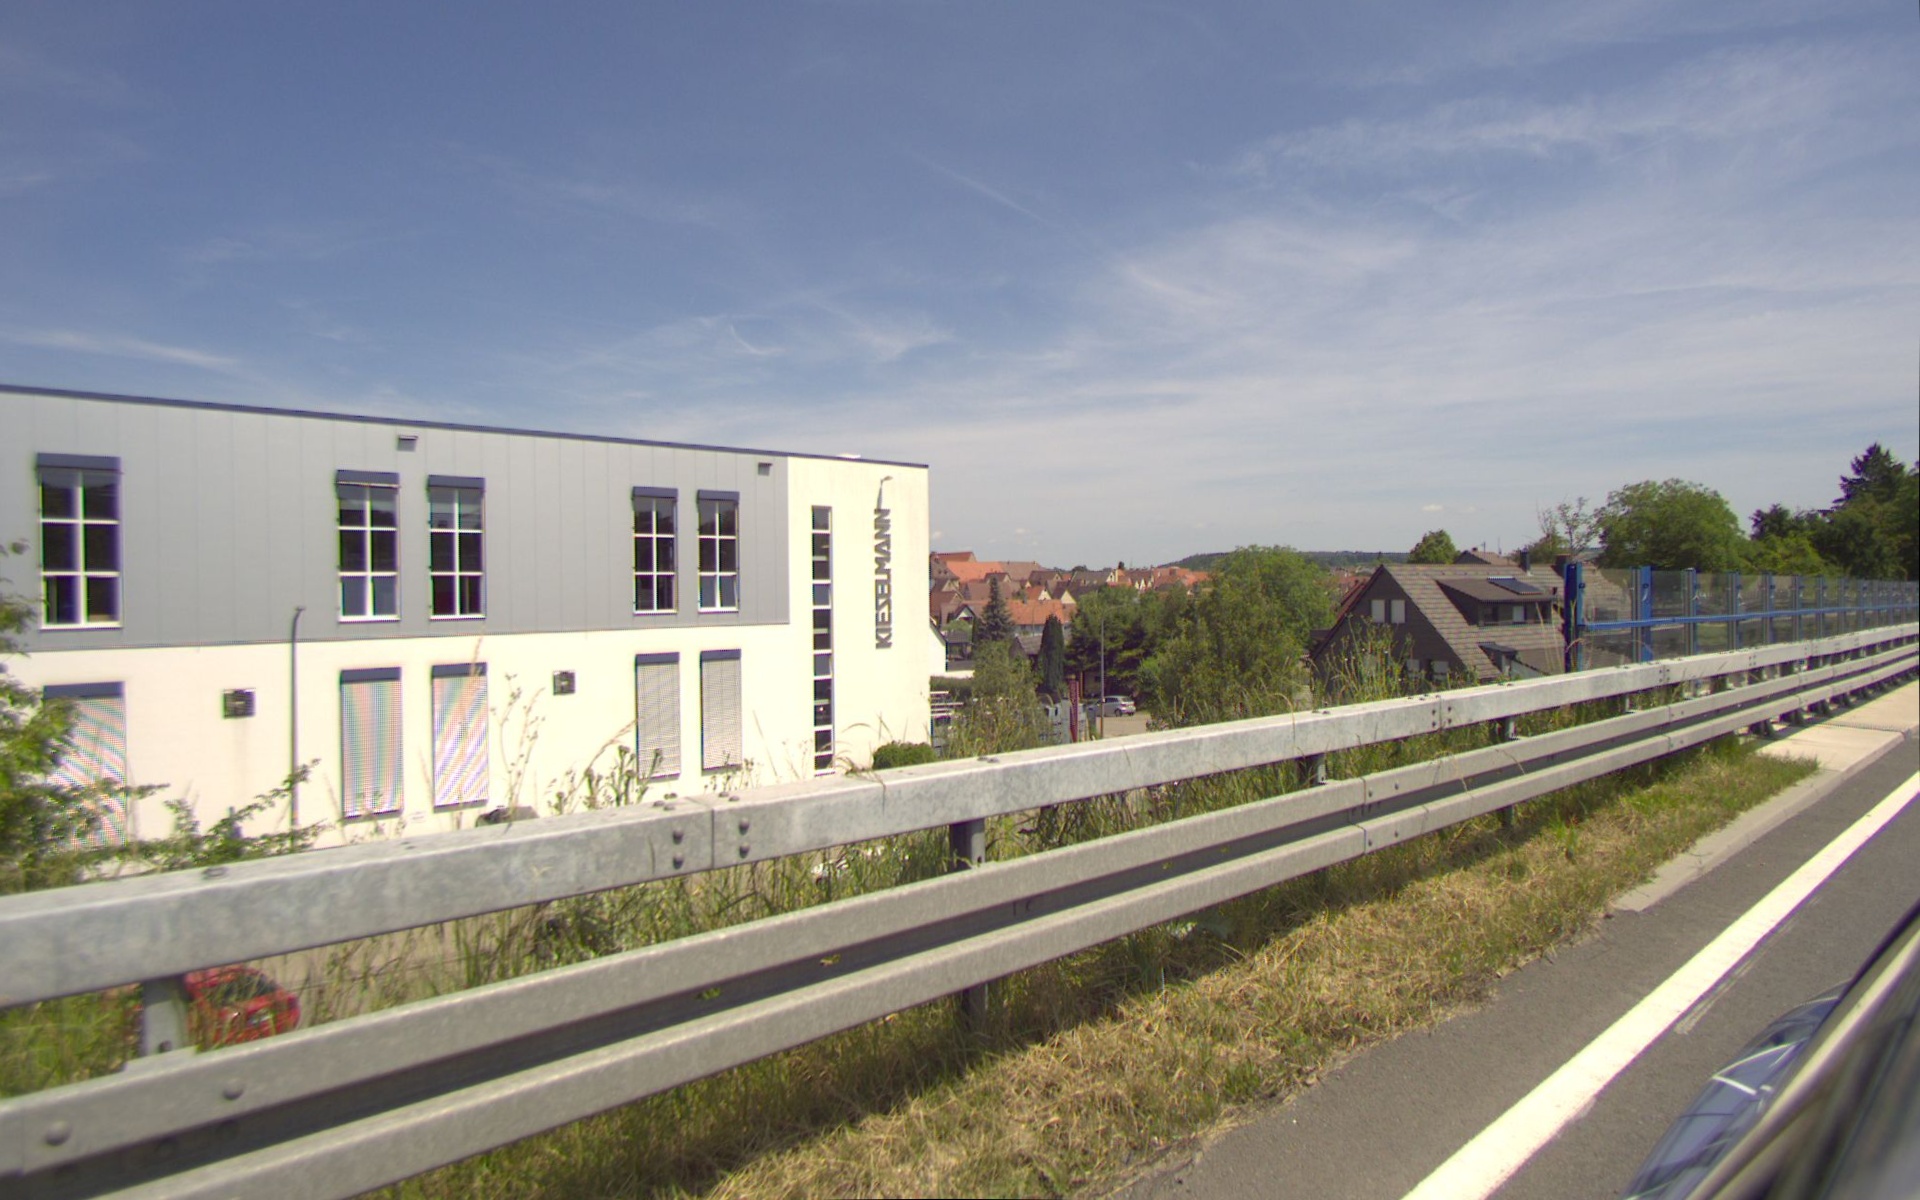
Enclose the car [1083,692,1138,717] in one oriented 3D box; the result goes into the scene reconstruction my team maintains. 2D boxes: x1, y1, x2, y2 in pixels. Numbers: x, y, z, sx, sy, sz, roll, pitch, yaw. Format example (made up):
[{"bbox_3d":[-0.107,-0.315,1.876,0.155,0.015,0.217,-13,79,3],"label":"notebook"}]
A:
[{"bbox_3d":[11.883,8.284,80.016,1.793,1.589,3.987,-2,-6,-44],"label":"car"}]
